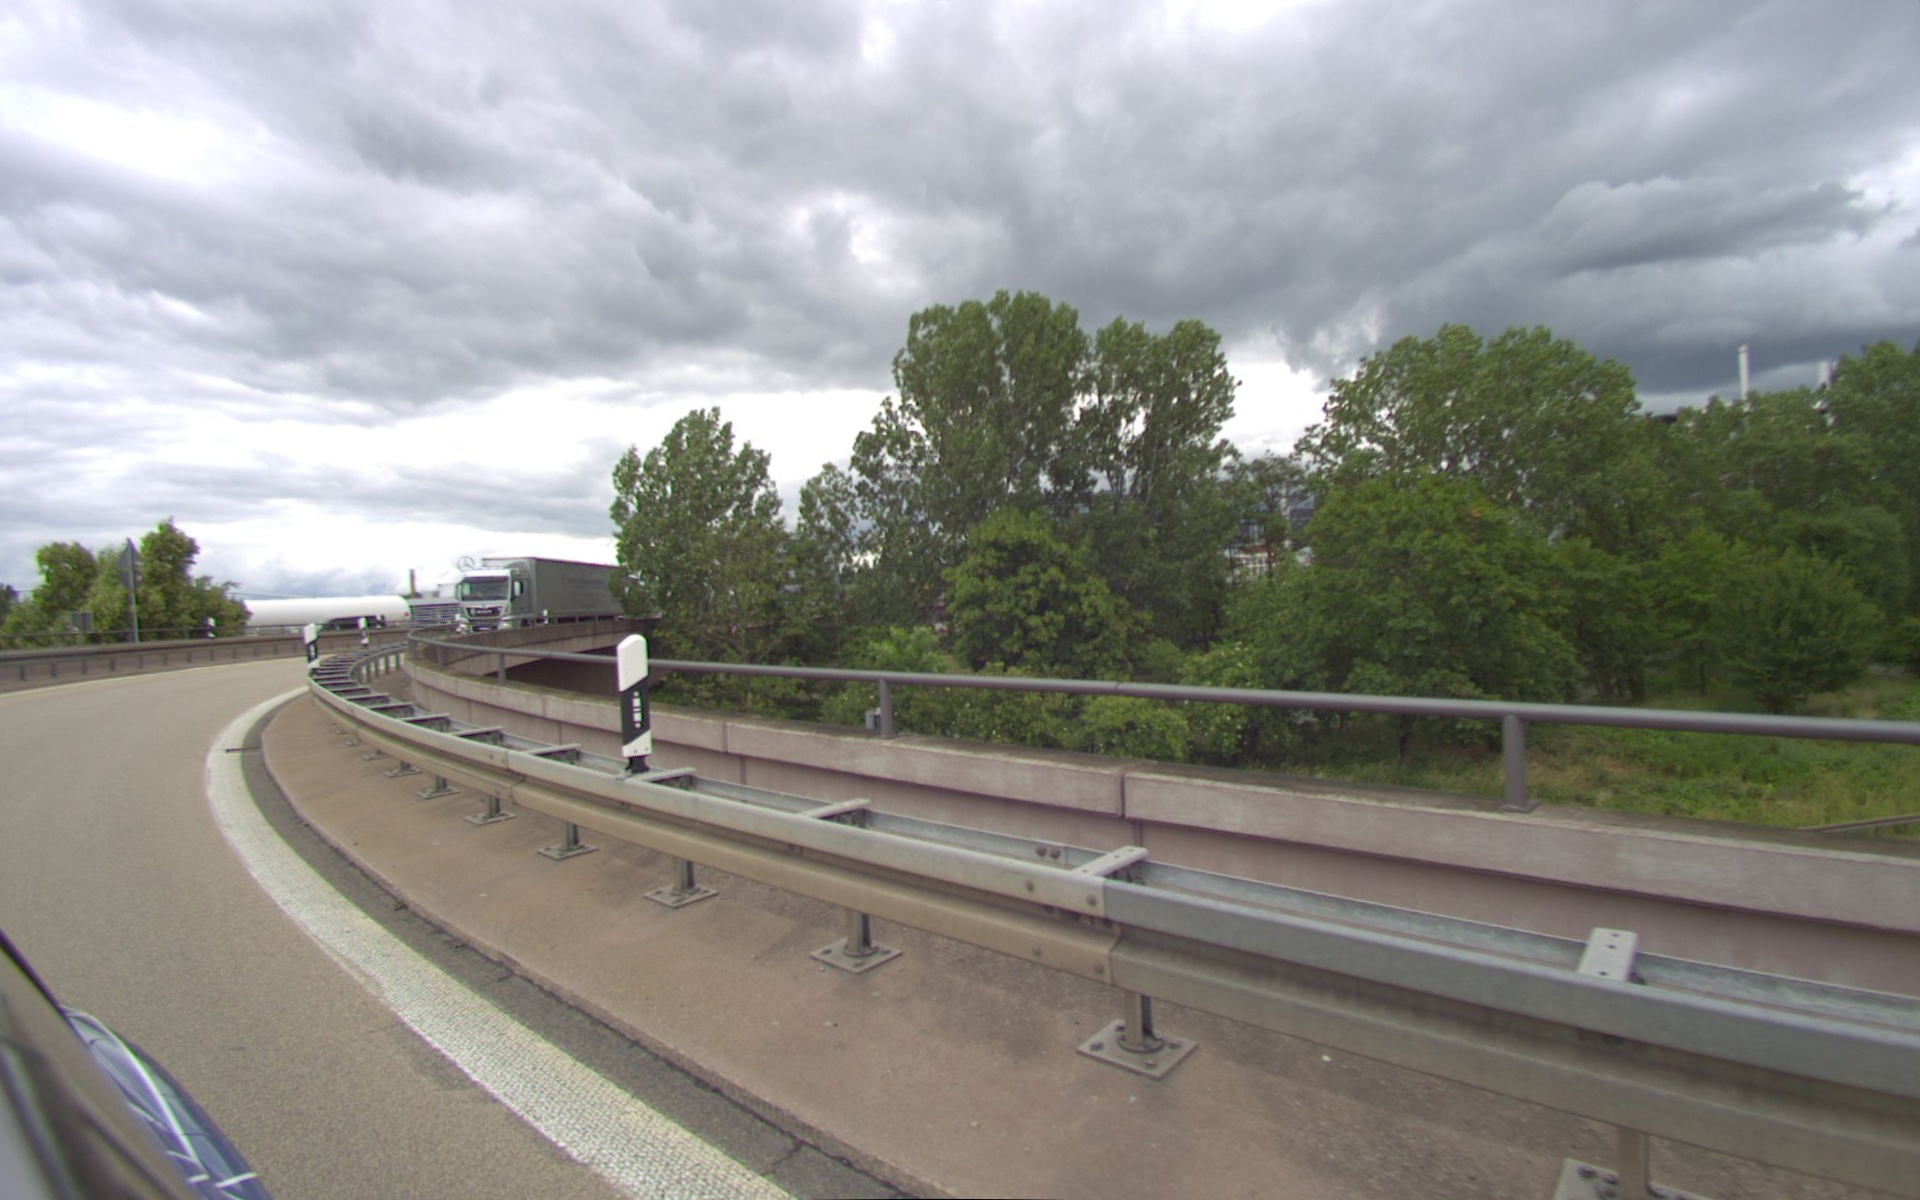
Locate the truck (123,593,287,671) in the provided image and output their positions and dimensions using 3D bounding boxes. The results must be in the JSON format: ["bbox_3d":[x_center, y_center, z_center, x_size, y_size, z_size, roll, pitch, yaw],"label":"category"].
[{"bbox_3d":[-38.619,1.567,52.015,2.718,3.673,6.156,-2,0,22],"label":"truck"}]

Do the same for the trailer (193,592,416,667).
[{"bbox_3d":[-36.490,1.510,57.079,2.730,3.677,10.925,-2,0,22],"label":"trailer"}]

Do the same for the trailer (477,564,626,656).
[{"bbox_3d":[-21.633,0.490,54.789,2.710,4.269,13.450,-2,0,-1],"label":"trailer"}]

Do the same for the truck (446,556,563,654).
[{"bbox_3d":[-21.529,0.218,48.212,2.698,4.260,6.201,-2,0,-1],"label":"truck"}]
